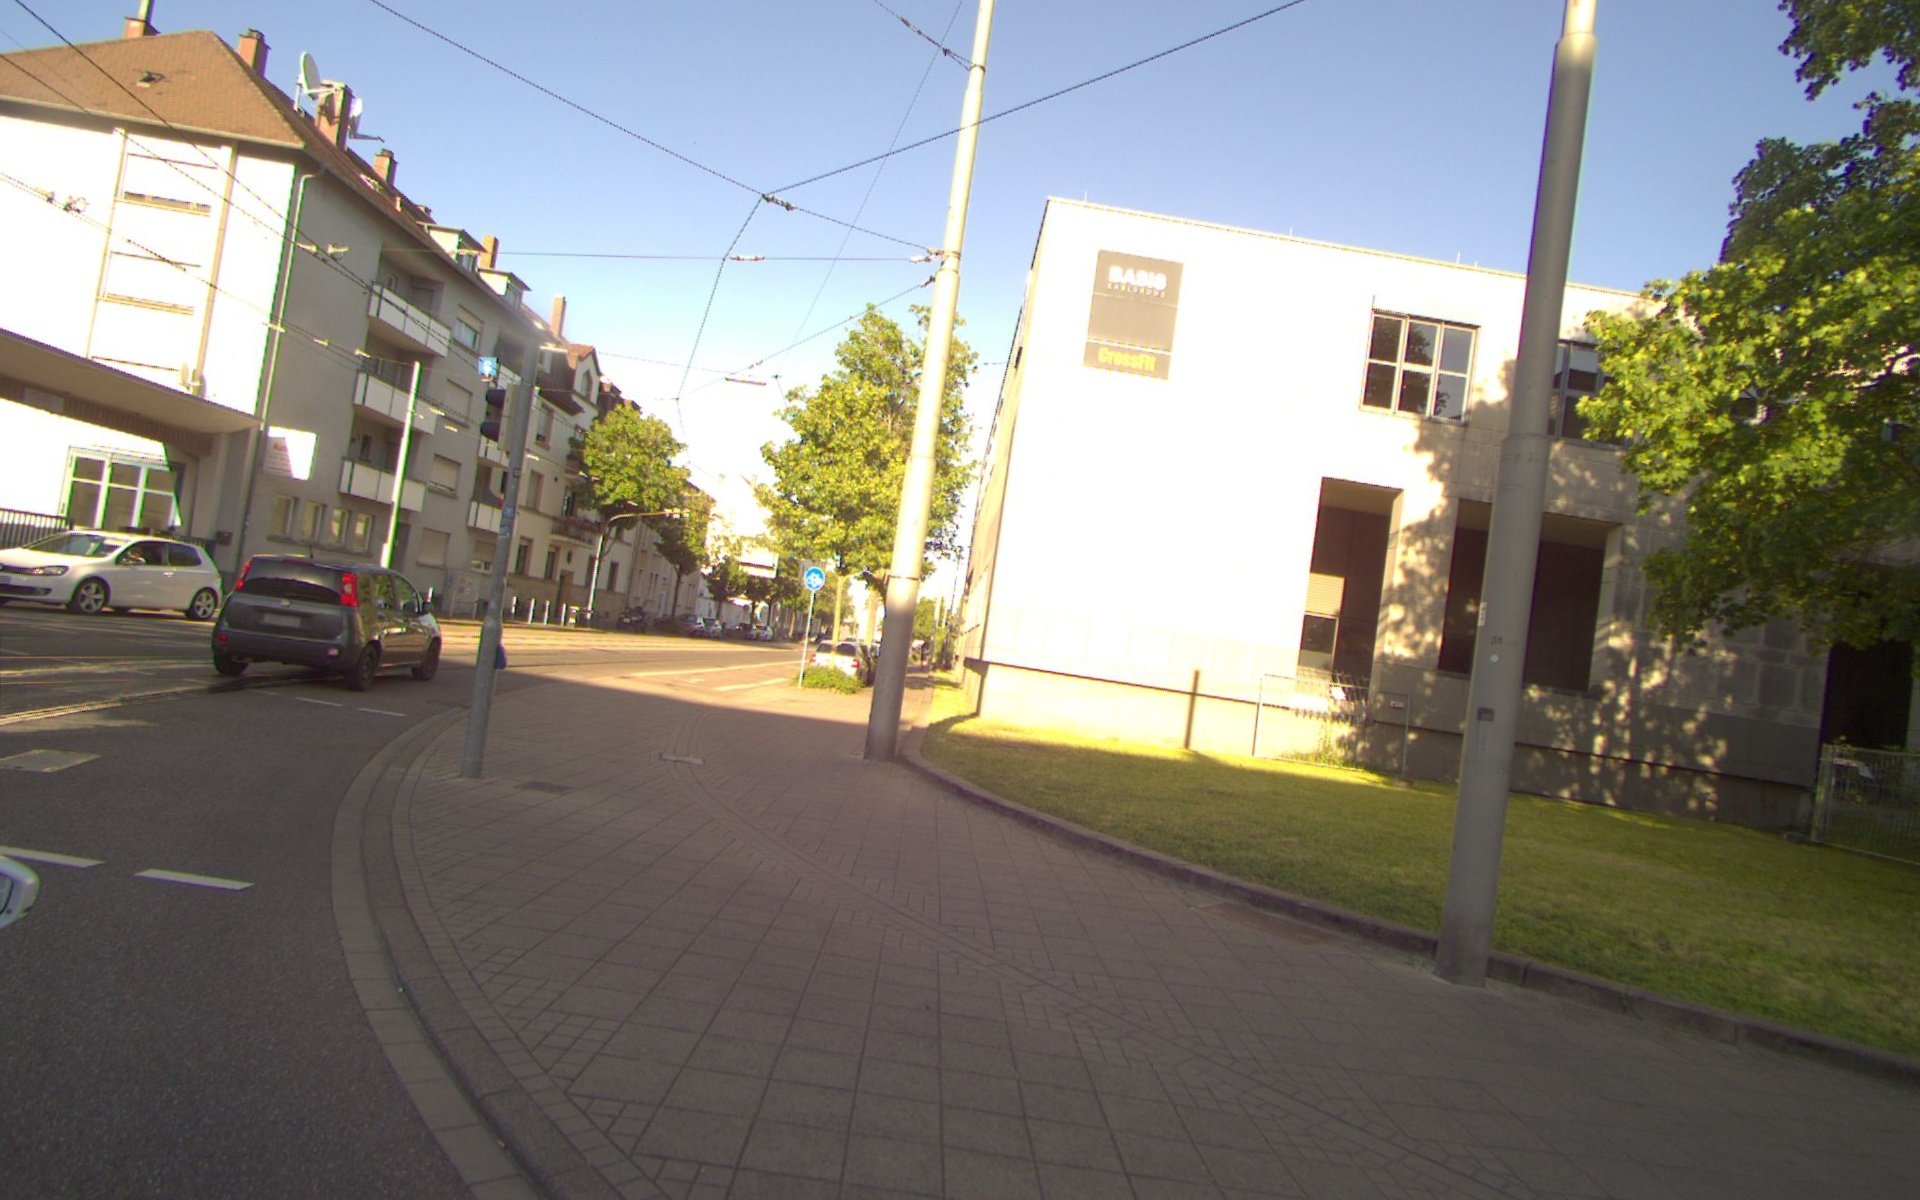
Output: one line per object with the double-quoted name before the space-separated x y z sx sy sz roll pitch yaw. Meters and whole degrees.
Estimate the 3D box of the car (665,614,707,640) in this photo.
"car" -18.613 1.865 68.576 1.771 1.502 4.002 8 -3 -3

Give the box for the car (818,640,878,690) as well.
"car" -4.132 2.392 37.764 1.812 1.506 4.645 8 -3 -3

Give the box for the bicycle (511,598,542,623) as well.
"bicycle" -20.521 0.506 47.647 0.499 1.018 2.022 8 -3 -1

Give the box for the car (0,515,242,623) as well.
"car" -15.158 -0.492 17.817 1.763 1.474 4.194 7 -3 -1

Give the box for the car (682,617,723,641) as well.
"car" -18.824 2.149 73.812 1.927 1.435 4.191 8 -3 -3

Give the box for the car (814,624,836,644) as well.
"car" -19.874 5.014 148.604 2.299 2.597 5.676 8 -3 -1

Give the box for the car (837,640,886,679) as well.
"car" -4.486 2.730 46.443 1.795 1.480 4.160 8 -3 -1

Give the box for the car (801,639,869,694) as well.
"car" -4.000 2.139 32.755 1.617 1.471 3.918 8 -3 -1

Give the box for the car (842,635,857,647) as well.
"car" -15.624 5.834 142.504 1.755 1.508 4.191 9 -3 -3

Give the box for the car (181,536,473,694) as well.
"car" -8.024 0.254 13.245 1.709 1.516 3.997 9 -3 -10

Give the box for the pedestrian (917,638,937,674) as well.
"pedestrian" -2.003 3.393 60.946 0.954 2.036 1.026 8 -2 0

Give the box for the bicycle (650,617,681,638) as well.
"bicycle" -18.885 1.764 64.596 1.728 1.034 0.607 11 -3 -21

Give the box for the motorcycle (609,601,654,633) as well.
"motorcycle" -18.570 1.003 57.021 1.436 1.498 3.104 8 -3 -2

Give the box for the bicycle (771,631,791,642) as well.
"bicycle" -19.997 4.037 112.230 2.230 0.941 0.789 6 -3 35

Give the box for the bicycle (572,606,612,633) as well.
"bicycle" -18.316 0.968 50.071 1.690 1.044 0.442 11 -3 -22

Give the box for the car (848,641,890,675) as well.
"car" -4.695 2.989 52.379 1.720 1.474 4.622 8 -3 -1

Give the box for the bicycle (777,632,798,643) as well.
"bicycle" -19.405 4.173 113.237 2.289 0.941 0.789 6 -3 35
